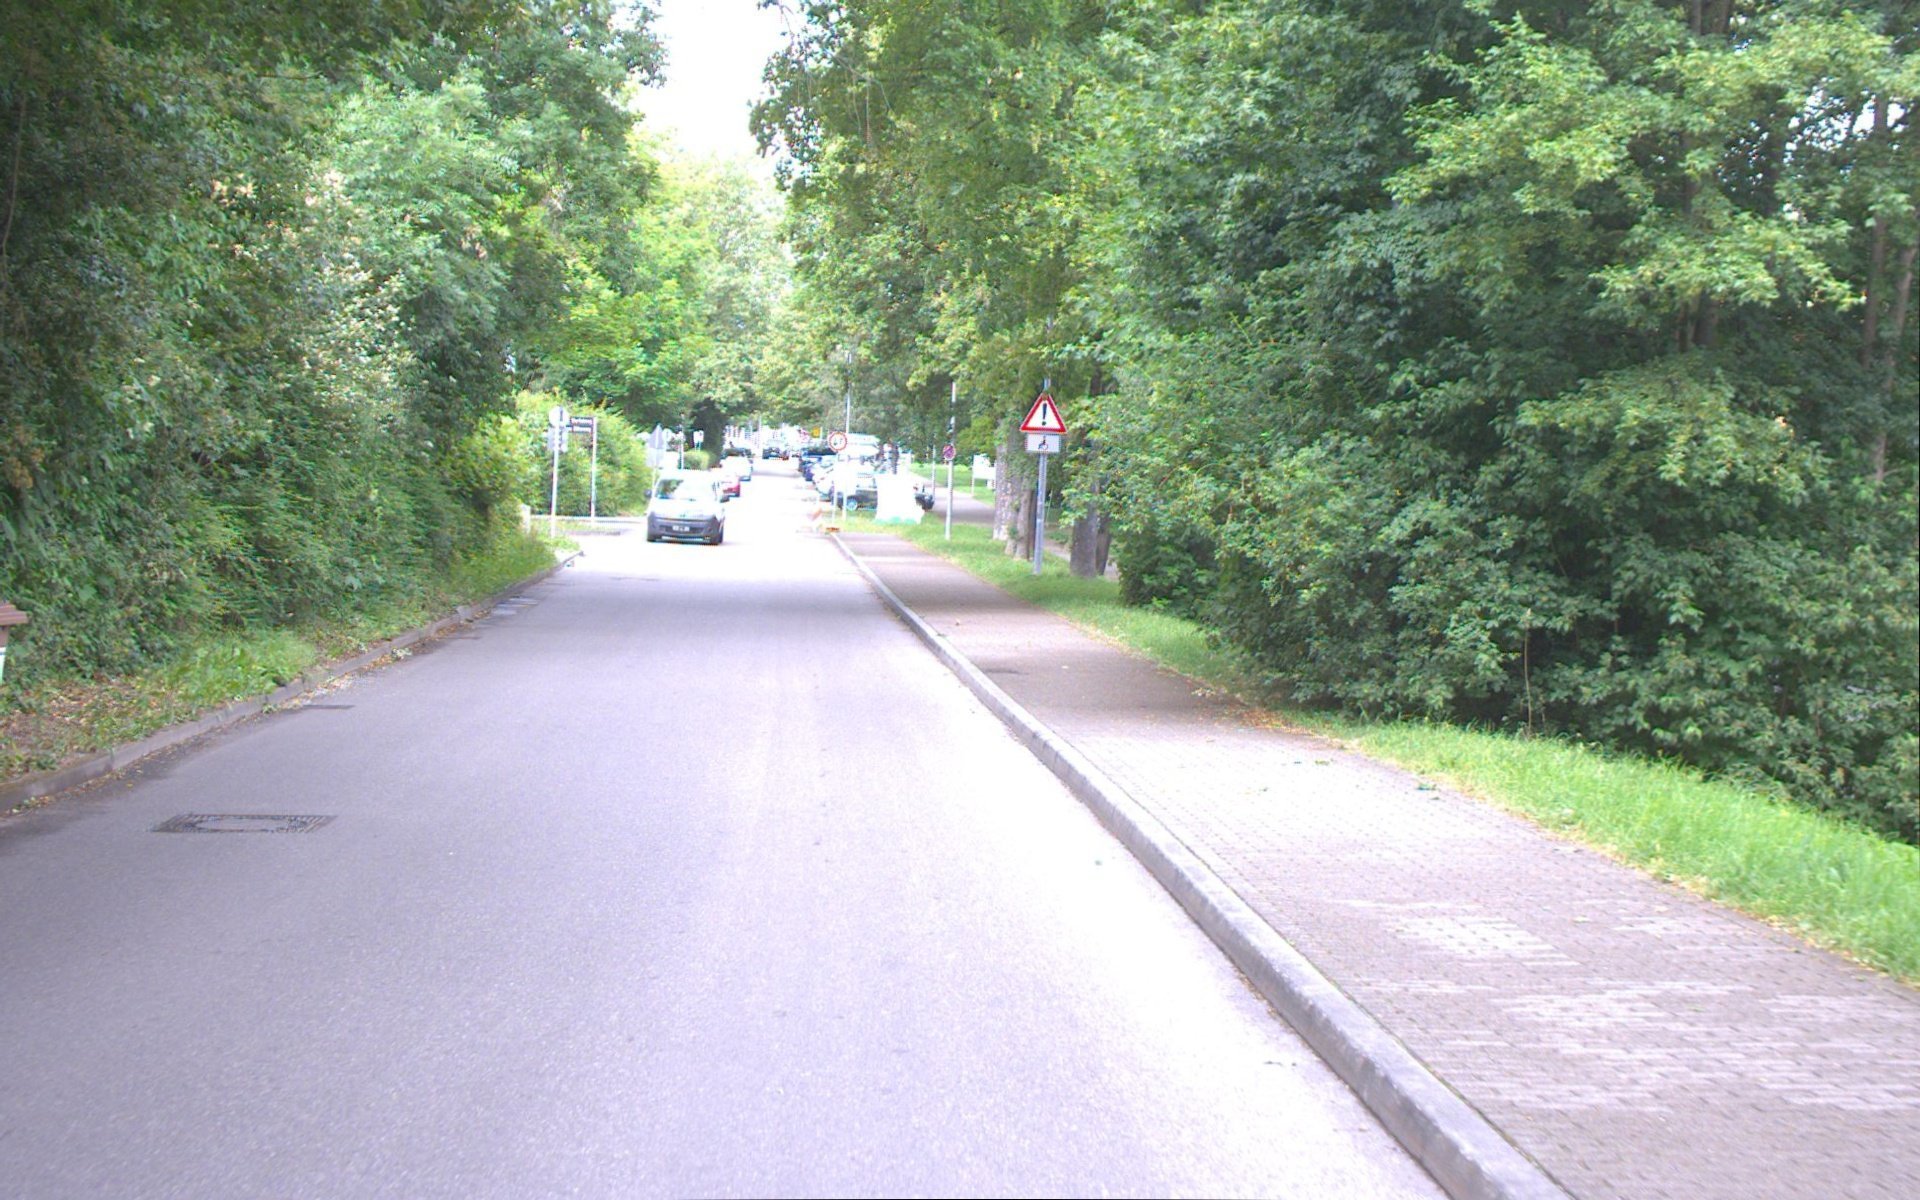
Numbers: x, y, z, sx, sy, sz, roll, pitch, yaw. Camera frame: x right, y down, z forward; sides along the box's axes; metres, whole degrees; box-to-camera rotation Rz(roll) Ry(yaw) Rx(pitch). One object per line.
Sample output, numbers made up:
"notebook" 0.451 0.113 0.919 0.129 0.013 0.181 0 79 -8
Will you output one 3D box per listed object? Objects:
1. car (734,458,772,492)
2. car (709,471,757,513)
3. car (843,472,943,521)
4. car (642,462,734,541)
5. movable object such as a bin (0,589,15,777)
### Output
"car" -11.941 -7.206 198.172 1.993 1.766 4.000 2 0 -2
"car" -10.538 -5.005 159.976 1.993 1.766 4.000 2 0 -2
"car" -2.727 -4.220 140.347 3.986 1.766 2.000 2 0 -2
"car" -6.690 -2.415 84.960 1.993 1.766 4.000 2 0 -2
"movable object such as a bin" -5.160 0.411 17.411 0.590 0.954 0.470 2 0 -2
